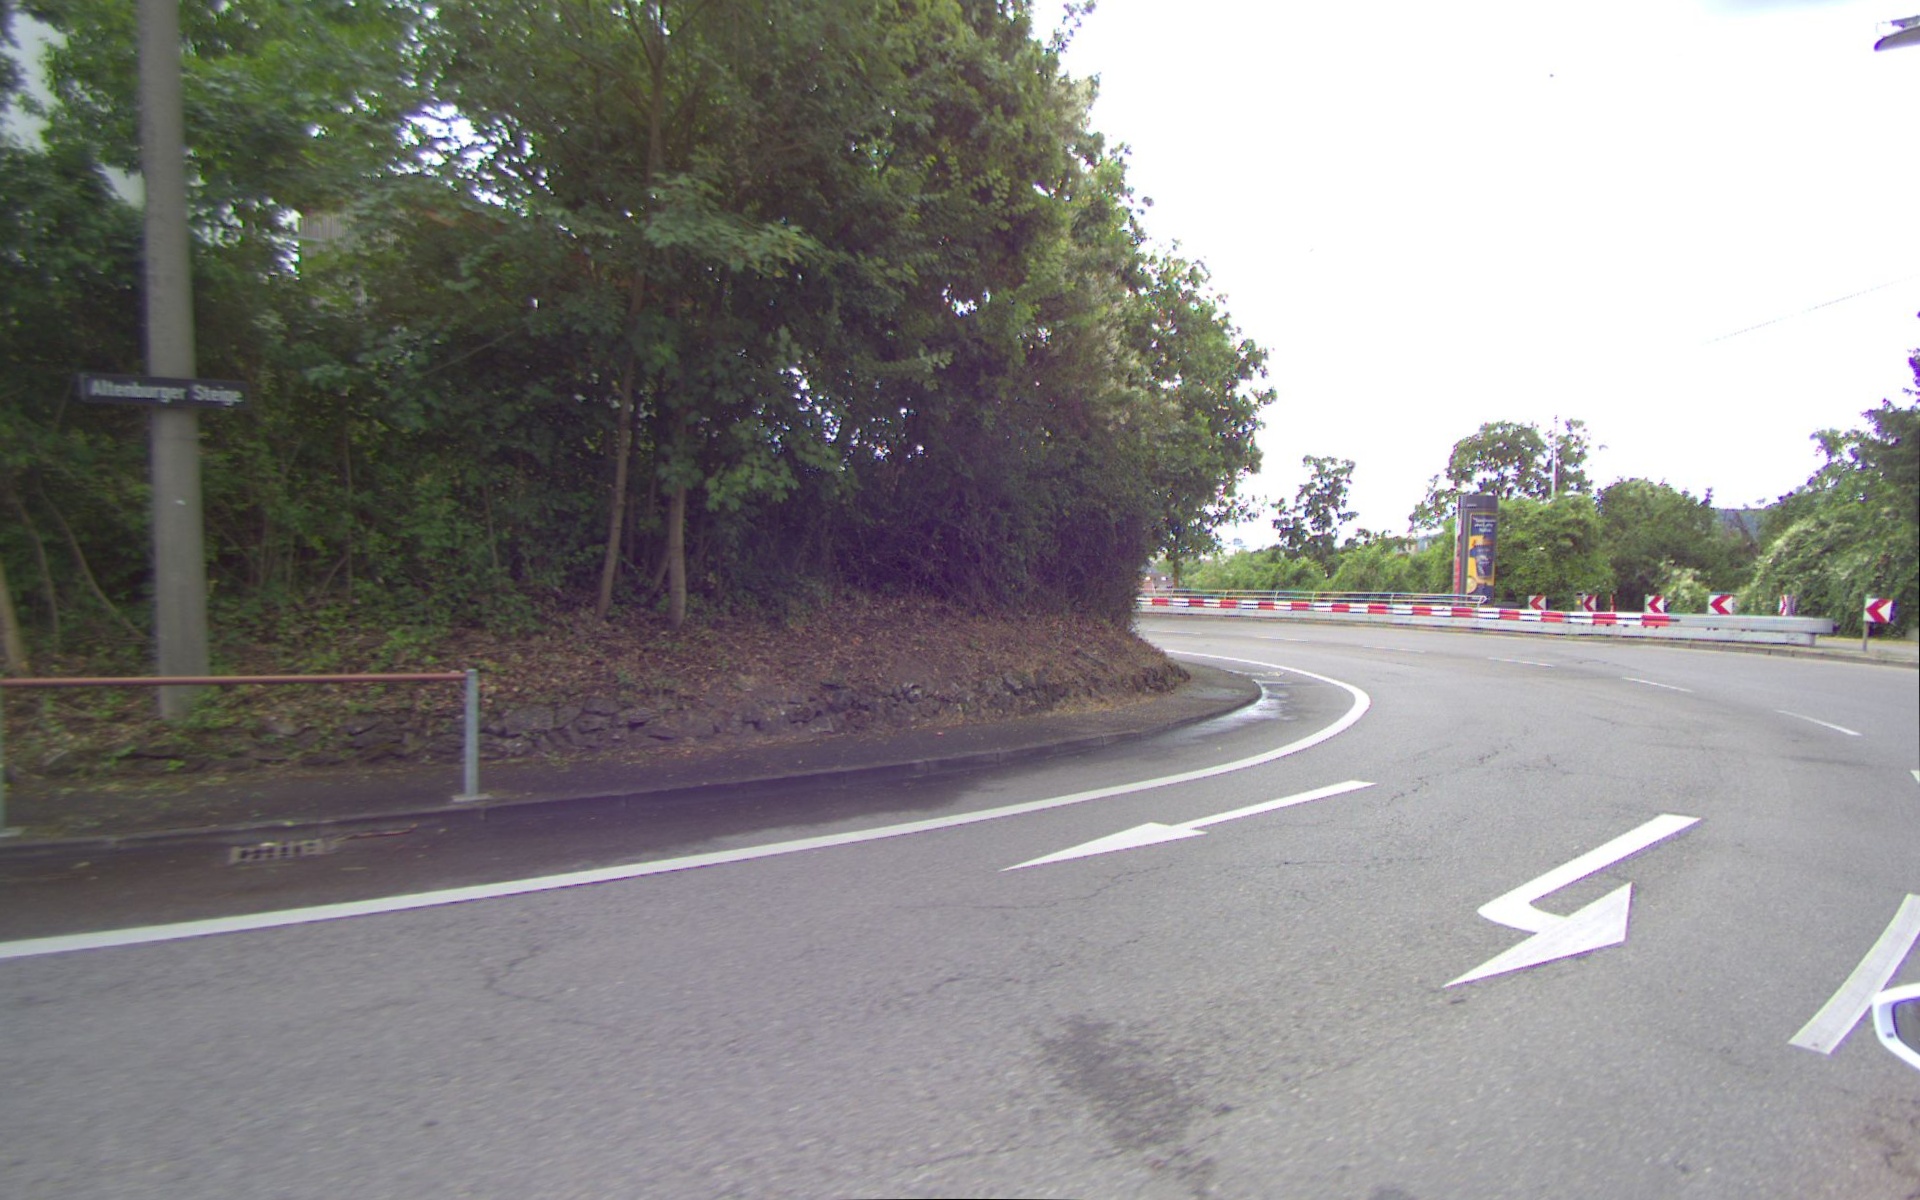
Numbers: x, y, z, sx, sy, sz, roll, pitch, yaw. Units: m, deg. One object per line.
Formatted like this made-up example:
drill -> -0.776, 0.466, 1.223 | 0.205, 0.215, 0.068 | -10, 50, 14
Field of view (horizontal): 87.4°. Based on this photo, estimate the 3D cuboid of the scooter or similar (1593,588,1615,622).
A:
scooter or similar -> 24.823, 0.168, 38.686 | 0.430, 1.267, 1.492 | 2, 2, 43
